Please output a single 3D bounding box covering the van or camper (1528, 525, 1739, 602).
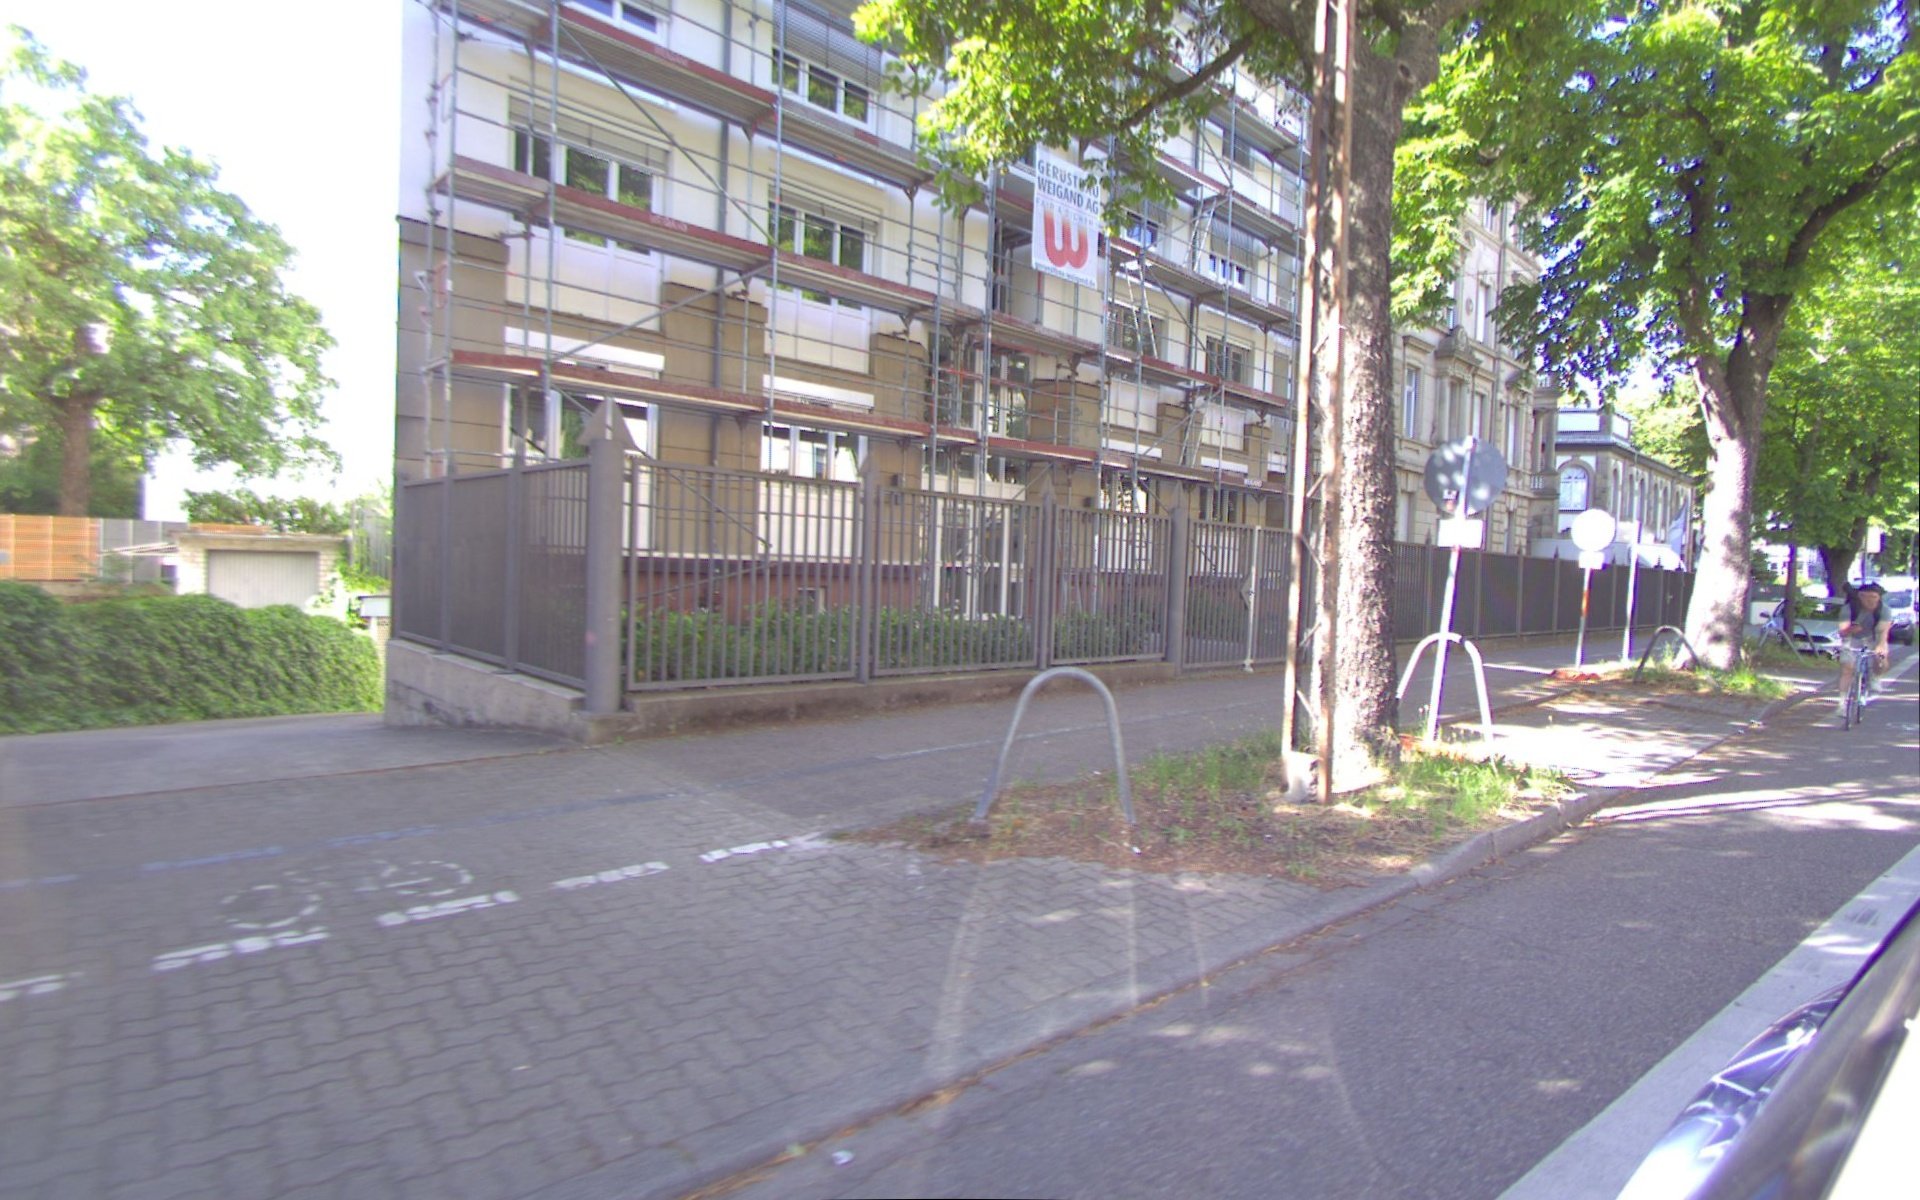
[{"bbox_3d":[25.170,-1.368,38.284,2.078,2.659,6.753,0,2,-18],"label":"van or camper"}]

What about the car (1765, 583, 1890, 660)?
[{"bbox_3d":[20.722,0.429,24.123,1.874,1.561,4.296,6,5,45],"label":"car"}]

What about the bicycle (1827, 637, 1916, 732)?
[{"bbox_3d":[10.712,0.950,11.873,2.021,0.933,0.535,-1,2,-41],"label":"bicycle"}]

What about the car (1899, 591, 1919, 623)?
[{"bbox_3d":[50.015,0.355,52.405,1.863,1.569,4.036,3,3,45],"label":"car"}]

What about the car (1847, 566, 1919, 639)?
[{"bbox_3d":[33.850,0.036,36.630,2.128,2.371,5.712,5,5,45],"label":"car"}]

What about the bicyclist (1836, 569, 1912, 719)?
[{"bbox_3d":[10.743,0.480,11.892,0.863,1.690,0.532,-1,2,-41],"label":"bicyclist"}]
